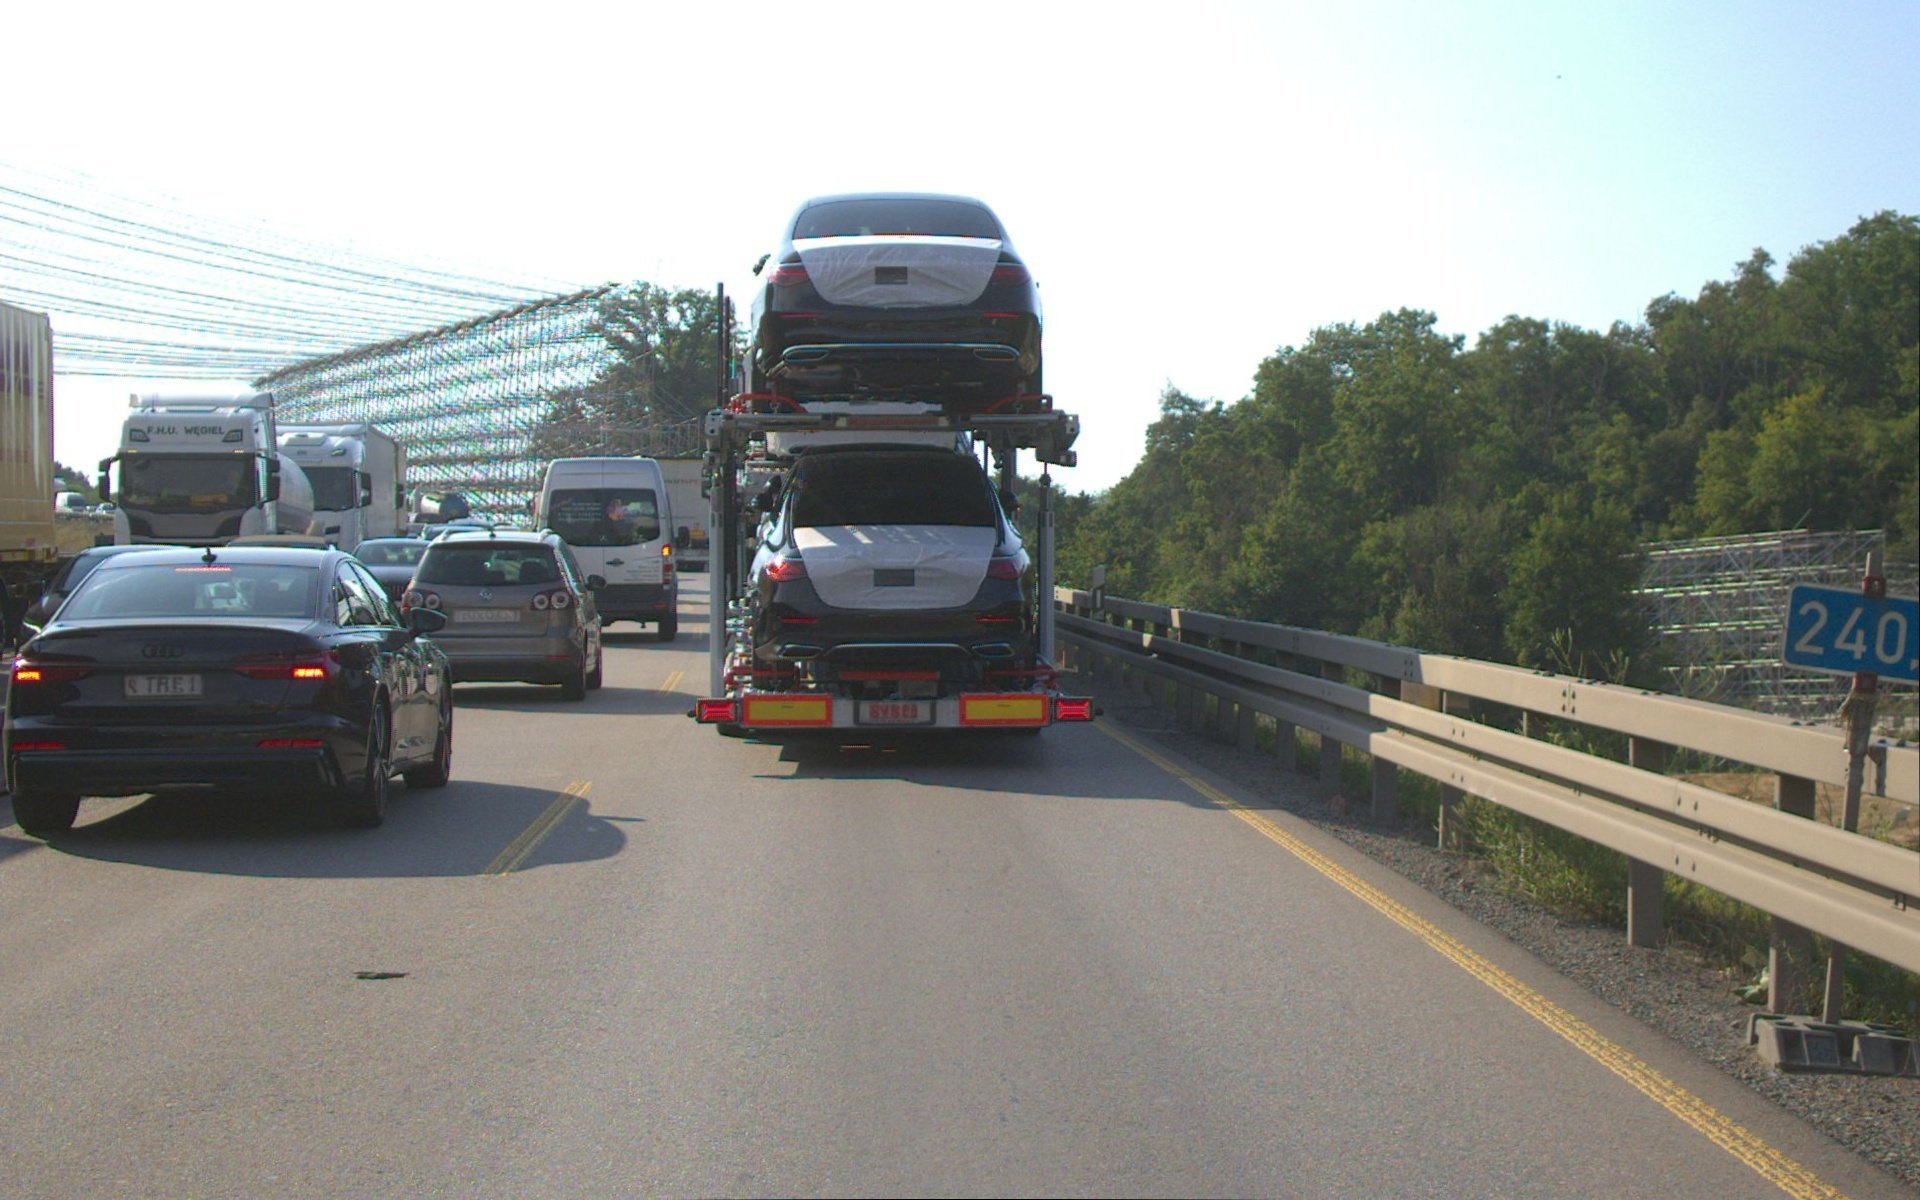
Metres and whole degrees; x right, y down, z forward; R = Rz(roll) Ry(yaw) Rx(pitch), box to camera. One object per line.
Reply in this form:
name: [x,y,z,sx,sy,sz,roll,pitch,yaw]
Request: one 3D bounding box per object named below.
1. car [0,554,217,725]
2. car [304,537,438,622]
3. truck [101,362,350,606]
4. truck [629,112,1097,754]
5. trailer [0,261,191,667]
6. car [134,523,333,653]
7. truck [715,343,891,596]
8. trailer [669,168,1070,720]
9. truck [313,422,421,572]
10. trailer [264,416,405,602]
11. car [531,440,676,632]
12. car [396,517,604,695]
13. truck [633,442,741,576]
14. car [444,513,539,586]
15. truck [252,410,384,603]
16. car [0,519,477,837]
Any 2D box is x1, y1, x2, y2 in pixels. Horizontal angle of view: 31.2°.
car: [-8.151,0.336,31.710,1.797,1.448,4.616,-1,0,-3]
car: [-10.144,-0.350,59.521,1.739,1.397,4.903,-1,0,-3]
truck: [-13.251,-1.920,63.227,2.808,3.956,13.896,1,0,-5]
truck: [-0.591,-1.051,24.309,2.870,3.966,5.771,-1,0,0]
trailer: [-11.426,-1.403,38.801,2.701,4.189,15.999,-1,0,-3]
car: [-8.941,-0.151,42.599,1.716,1.503,4.292,-1,0,-2]
truck: [-3.226,-2.590,69.318,3.228,4.661,11.697,0,2,-3]
trailer: [-1.080,-1.168,32.628,2.874,3.980,15.281,-1,0,-3]
truck: [-17.569,-3.005,102.128,2.893,4.257,5.773,-1,0,-8]
trailer: [-15.293,-2.102,84.766,2.452,4.251,12.148,-1,0,-6]
car: [-5.198,-0.911,50.567,1.979,2.675,4.147,-1,0,-5]
car: [-4.345,0.047,32.950,1.700,1.581,4.147,-1,0,-4]
truck: [-9.850,-3.338,125.393,3.648,4.661,11.697,0,2,-3]
car: [-10.971,-1.174,80.717,1.846,1.642,4.560,-1,1,-4]
truck: [-14.771,-2.084,79.433,2.443,4.257,6.323,-1,0,-6]
car: [-3.915,0.349,19.031,1.940,1.475,5.222,-1,1,-3]
